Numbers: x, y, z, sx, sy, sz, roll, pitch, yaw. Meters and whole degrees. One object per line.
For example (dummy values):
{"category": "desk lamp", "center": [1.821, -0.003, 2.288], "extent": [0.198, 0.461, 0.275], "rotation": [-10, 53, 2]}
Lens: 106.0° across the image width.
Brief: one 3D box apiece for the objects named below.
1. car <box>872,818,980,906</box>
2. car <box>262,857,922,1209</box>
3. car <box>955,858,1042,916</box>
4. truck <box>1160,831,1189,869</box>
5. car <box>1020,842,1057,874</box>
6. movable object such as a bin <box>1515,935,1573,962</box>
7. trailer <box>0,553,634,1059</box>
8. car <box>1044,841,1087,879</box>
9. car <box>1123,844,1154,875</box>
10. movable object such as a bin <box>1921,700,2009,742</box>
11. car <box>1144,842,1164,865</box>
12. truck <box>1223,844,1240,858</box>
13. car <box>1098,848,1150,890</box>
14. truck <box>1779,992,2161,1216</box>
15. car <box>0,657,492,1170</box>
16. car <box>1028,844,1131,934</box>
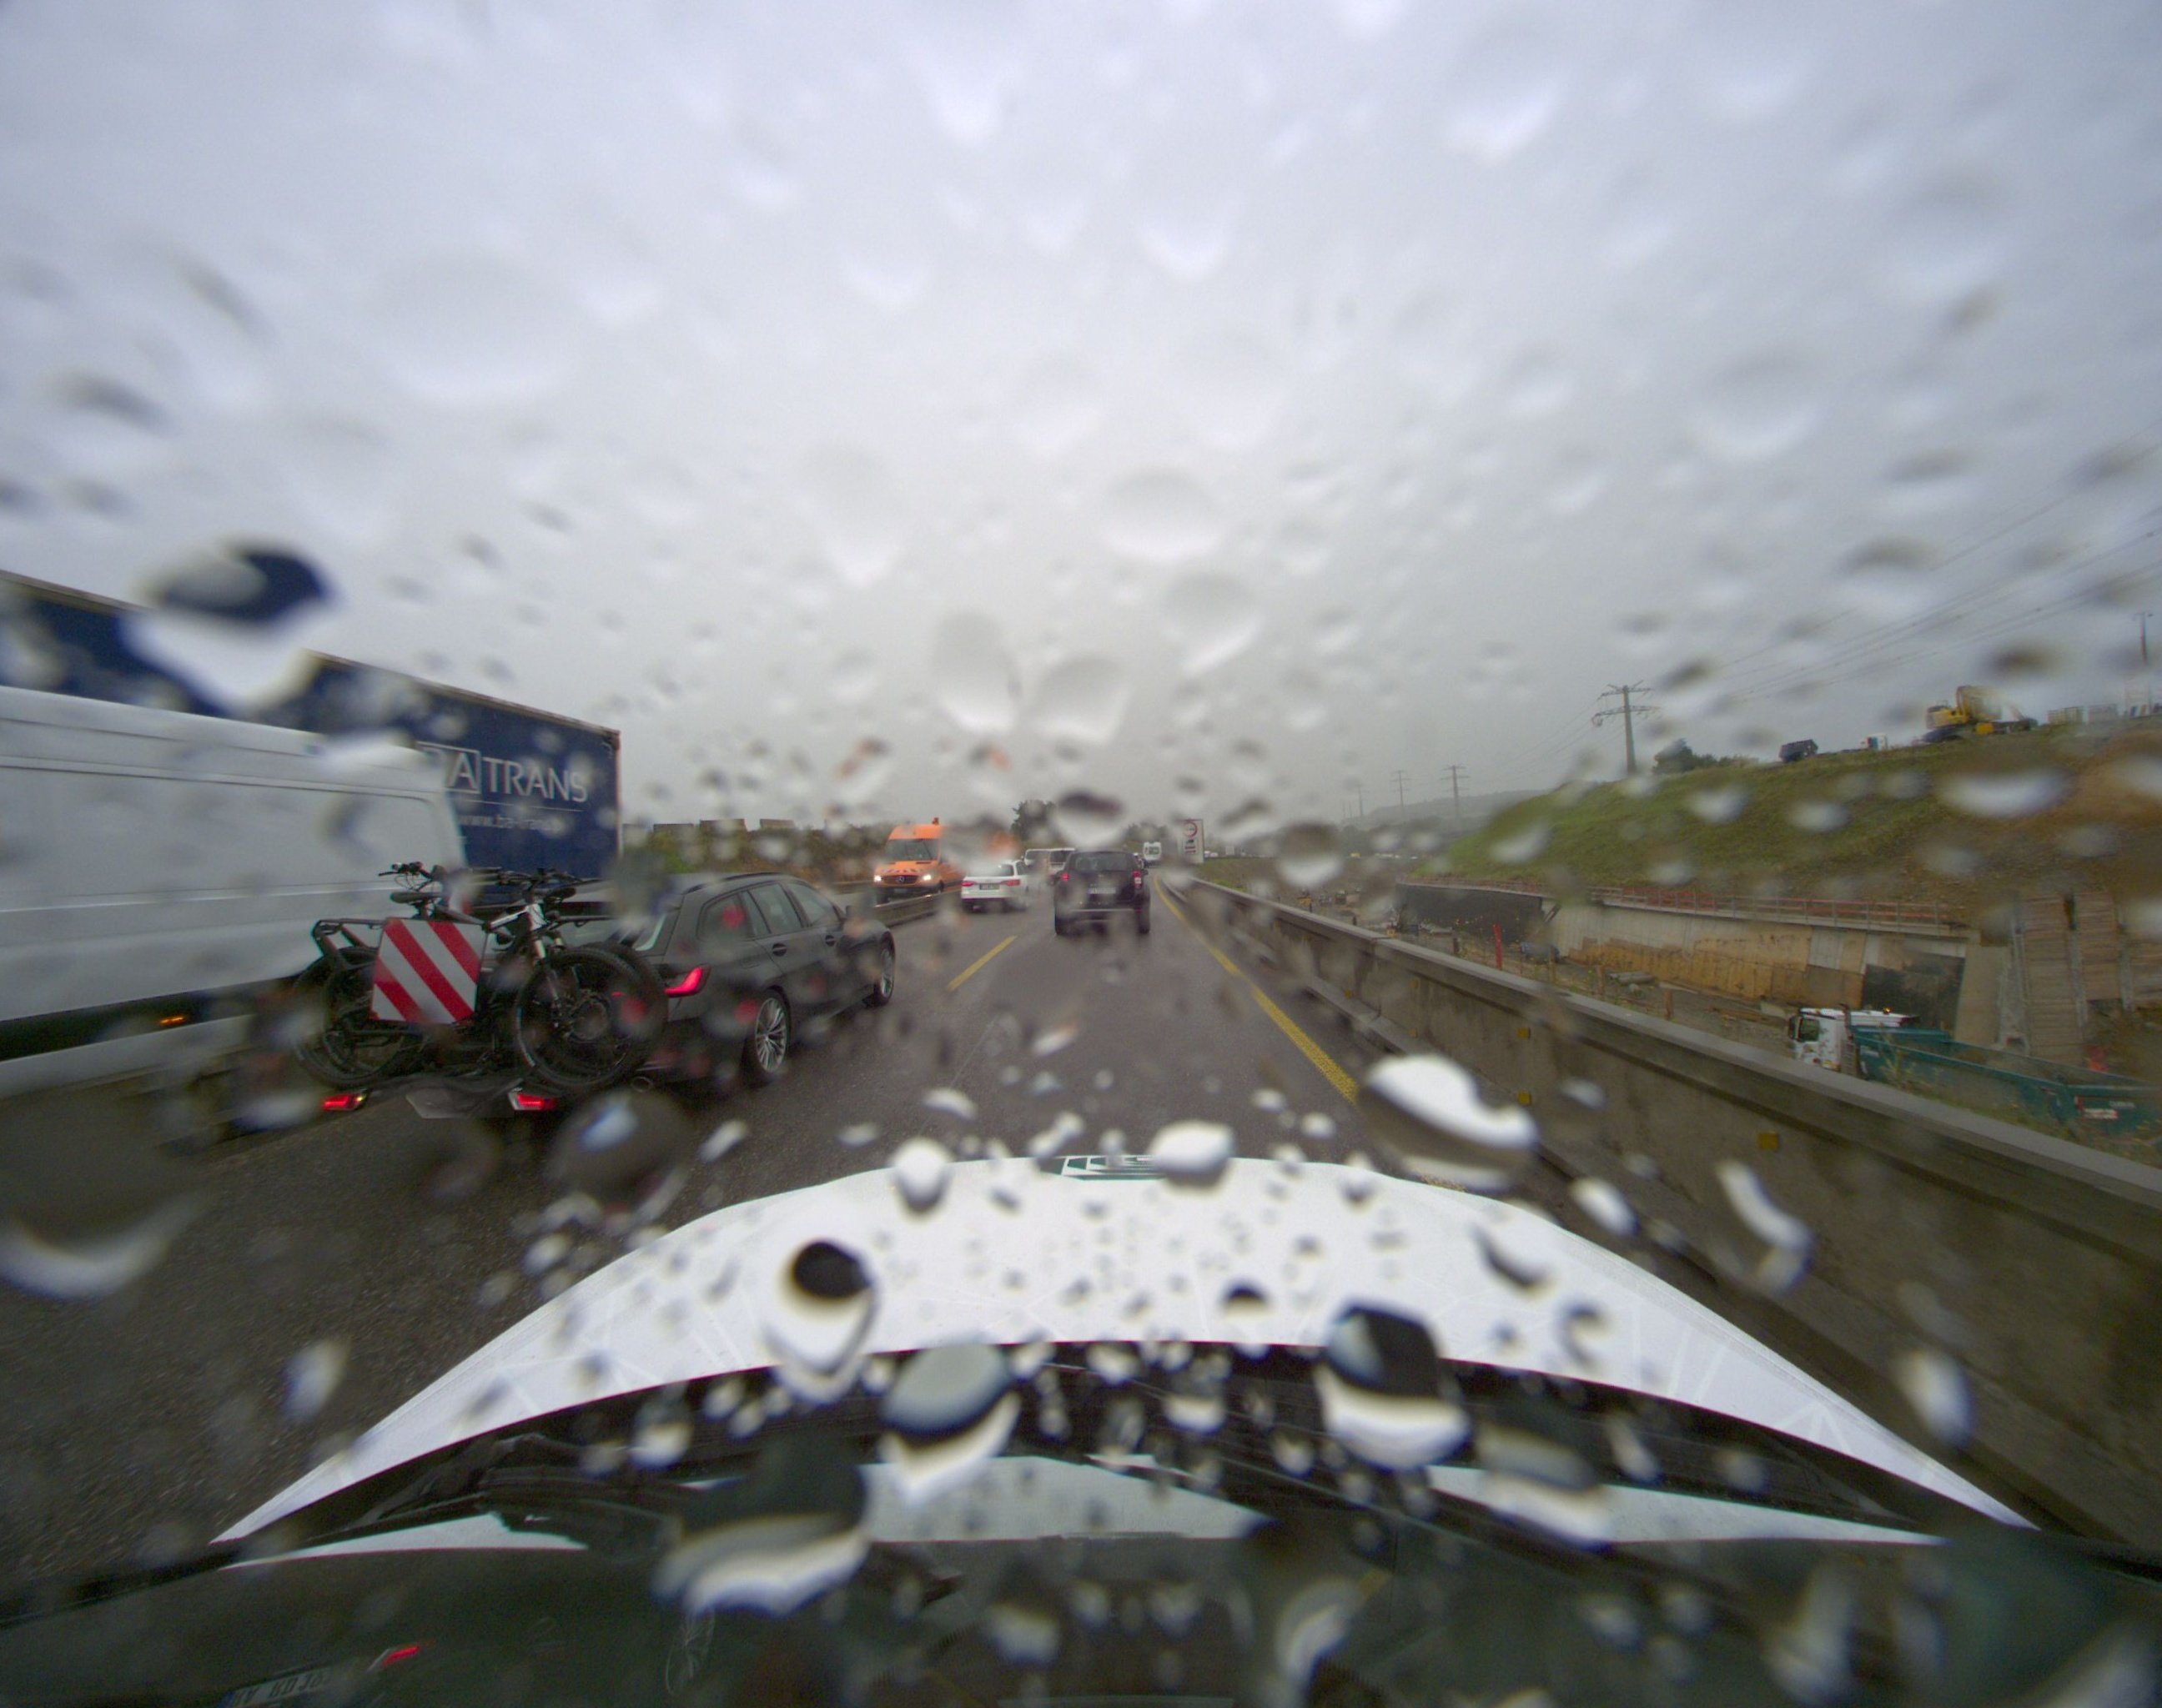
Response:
{"category": "car", "center": [-5.007, 0.209, 27.542], "extent": [2.046, 2.577, 7.024], "rotation": [-1, 0, 2]}
{"category": "car", "center": [-2.857, 0.863, 6.647], "extent": [1.728, 1.462, 5.634], "rotation": [-1, 1, 3]}
{"category": "car", "center": [-2.261, 0.884, 23.319], "extent": [1.818, 1.499, 4.003], "rotation": [-1, -1, 3]}
{"category": "truck", "center": [13.546, -0.481, 117.163], "extent": [3.522, 5.077, 10.468], "rotation": [-1, -1, 9]}
{"category": "car", "center": [-2.829, 0.238, 55.071], "extent": [1.986, 1.999, 4.972], "rotation": [-1, 1, 2]}
{"category": "movable object such as a bin", "center": [40.143, 8.150, 70.660], "extent": [2.008, 2.014, 3.799], "rotation": [3, -4, -35]}
{"category": "trailer", "center": [-9.930, -0.391, 8.135], "extent": [2.768, 4.034, 13.750], "rotation": [-1, 1, 2]}
{"category": "car", "center": [-0.746, 0.314, 42.054], "extent": [1.818, 1.815, 4.004], "rotation": [-1, -1, 4]}
{"category": "car", "center": [3.597, 0.357, 50.816], "extent": [1.817, 1.815, 4.005], "rotation": [-1, -1, 5]}
{"category": "movable object such as a bin", "center": [64.186, -9.639, 59.230], "extent": [2.414, 2.443, 3.979], "rotation": [-1, 1, 9]}
{"category": "car", "center": [8.028, -0.031, 89.208], "extent": [1.815, 2.437, 4.168], "rotation": [-1, -1, 9]}
{"category": "truck", "center": [42.742, -0.945, 230.807], "extent": [3.444, 3.715, 8.456], "rotation": [-2, 0, 17]}
{"category": "car", "center": [1.628, 0.557, 30.940], "extent": [1.818, 1.499, 4.003], "rotation": [-1, -1, 3]}
{"category": "truck", "center": [24.173, 6.290, 22.502], "extent": [2.716, 3.491, 9.080], "rotation": [-1, -1, 6]}
{"category": "car", "center": [-6.596, 0.320, 4.213], "extent": [1.999, 2.653, 6.884], "rotation": [-1, 1, 0]}
{"category": "car", "center": [0.089, 0.653, 16.535], "extent": [1.818, 1.591, 4.003], "rotation": [-1, -1, 3]}
